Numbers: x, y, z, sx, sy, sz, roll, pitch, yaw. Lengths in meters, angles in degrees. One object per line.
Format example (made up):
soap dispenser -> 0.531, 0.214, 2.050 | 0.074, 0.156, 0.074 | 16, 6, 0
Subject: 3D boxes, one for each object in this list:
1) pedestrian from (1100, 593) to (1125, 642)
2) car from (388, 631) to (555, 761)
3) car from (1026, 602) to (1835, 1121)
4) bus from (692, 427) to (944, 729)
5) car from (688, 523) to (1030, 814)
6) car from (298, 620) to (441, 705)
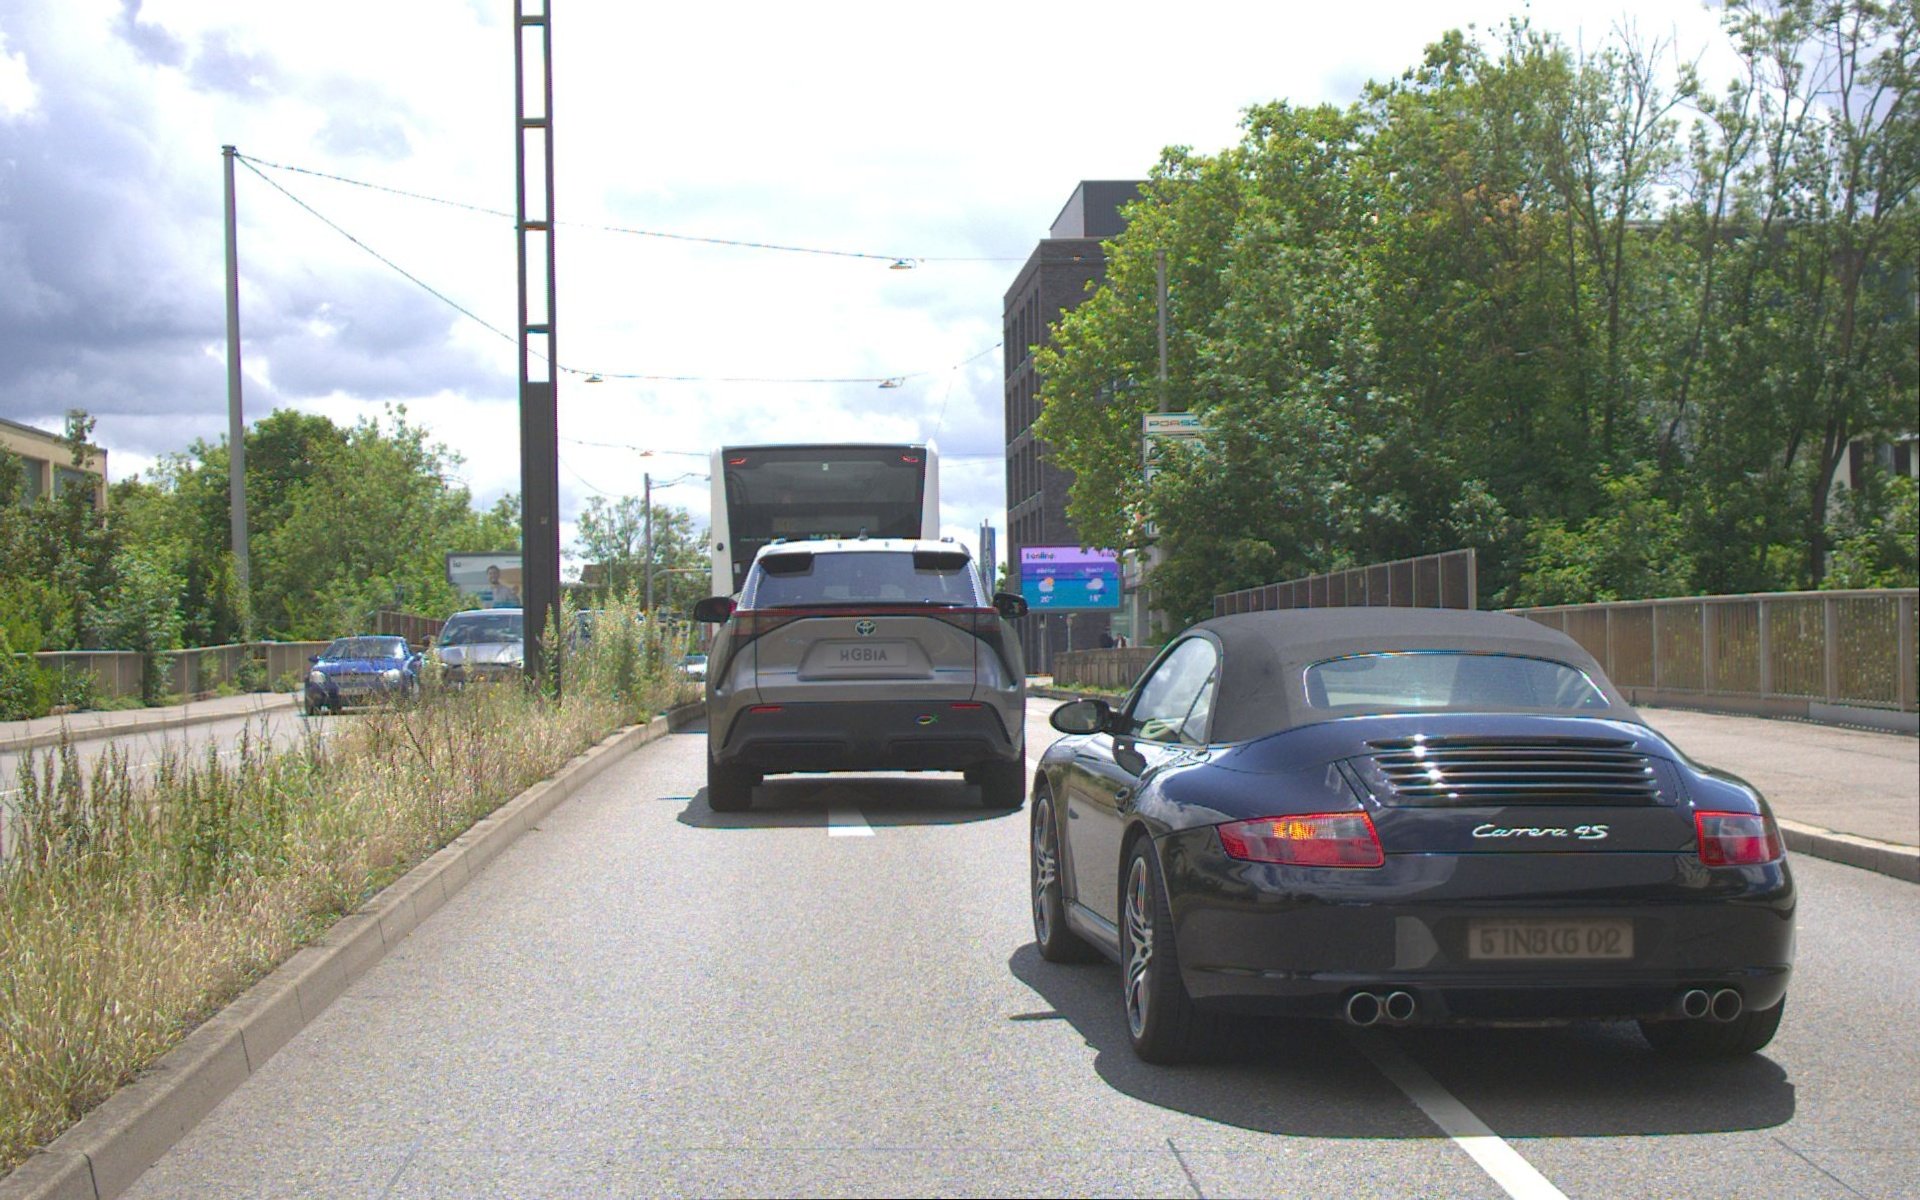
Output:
pedestrian -> 5.266, 0.607, 118.707 | 0.681, 1.691, 0.597 | -1, -1, 23
car -> -6.974, 1.342, 49.477 | 1.878, 1.621, 4.444 | -2, 1, -2
car -> 1.263, 0.675, 10.935 | 1.719, 1.271, 4.088 | 0, 1, -4
bus -> -1.685, -0.442, 43.343 | 2.689, 3.244, 12.059 | 1, 2, -1
car -> -0.593, 0.352, 21.147 | 1.879, 1.588, 4.230 | 1, 1, -1
car -> -9.767, 1.014, 57.117 | 1.754, 1.271, 4.000 | -3, 0, -2
